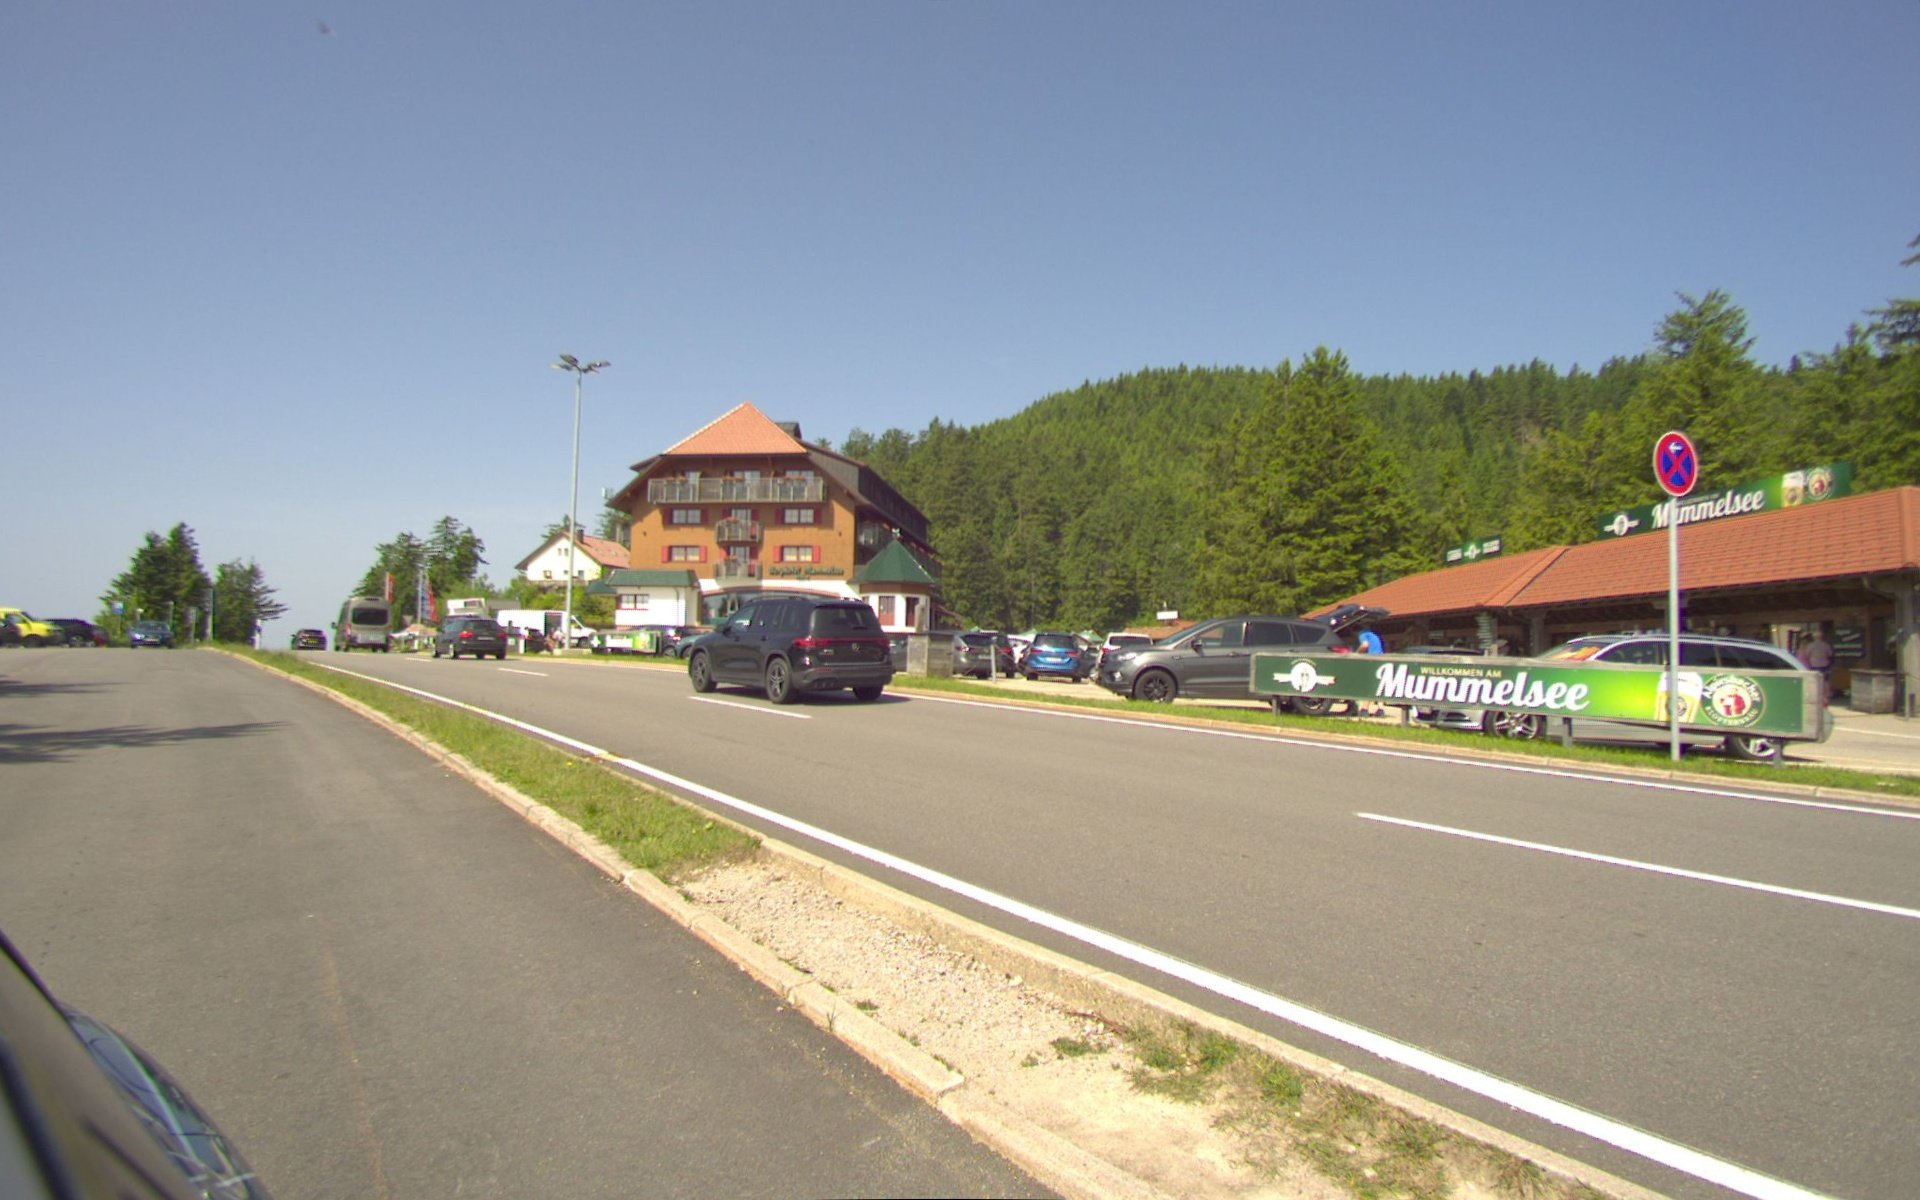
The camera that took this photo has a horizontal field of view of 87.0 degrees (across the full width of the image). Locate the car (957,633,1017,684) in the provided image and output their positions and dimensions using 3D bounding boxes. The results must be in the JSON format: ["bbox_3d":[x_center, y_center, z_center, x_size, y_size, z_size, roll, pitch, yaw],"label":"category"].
[{"bbox_3d":[1.028,2.051,35.982,1.802,1.641,4.087,1,-2,6],"label":"car"}]

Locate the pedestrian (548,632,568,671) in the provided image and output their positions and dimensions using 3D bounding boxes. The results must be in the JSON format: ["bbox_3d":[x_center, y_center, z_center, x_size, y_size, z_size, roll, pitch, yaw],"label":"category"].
[{"bbox_3d":[-21.108,2.690,53.175,0.706,2.029,0.804,2,-2,-40],"label":"pedestrian"}]

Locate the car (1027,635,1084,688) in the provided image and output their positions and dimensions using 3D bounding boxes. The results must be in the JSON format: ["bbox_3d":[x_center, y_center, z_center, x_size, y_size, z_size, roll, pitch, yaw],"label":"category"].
[{"bbox_3d":[3.271,2.050,34.465,1.802,1.641,4.087,1,-2,6],"label":"car"}]

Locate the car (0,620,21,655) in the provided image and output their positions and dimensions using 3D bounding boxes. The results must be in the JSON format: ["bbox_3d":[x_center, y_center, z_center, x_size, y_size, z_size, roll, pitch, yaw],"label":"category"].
[{"bbox_3d":[-46.987,1.720,47.630,3.849,1.627,1.880,3,-3,-37],"label":"car"}]

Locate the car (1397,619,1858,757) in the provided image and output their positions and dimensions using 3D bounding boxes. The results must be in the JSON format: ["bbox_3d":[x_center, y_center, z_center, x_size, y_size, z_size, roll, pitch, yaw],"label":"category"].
[{"bbox_3d":[8.031,1.037,12.537,4.446,1.441,1.719,1,-2,5],"label":"car"}]

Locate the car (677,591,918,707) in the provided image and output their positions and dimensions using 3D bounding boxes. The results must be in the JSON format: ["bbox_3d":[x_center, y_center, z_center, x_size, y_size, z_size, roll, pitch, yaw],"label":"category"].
[{"bbox_3d":[-2.855,0.775,16.921,1.968,1.660,4.576,3,-3,-38],"label":"car"}]

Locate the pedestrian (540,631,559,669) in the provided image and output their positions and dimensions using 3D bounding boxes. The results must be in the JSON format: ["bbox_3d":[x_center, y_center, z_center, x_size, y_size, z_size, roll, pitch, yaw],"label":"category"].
[{"bbox_3d":[-22.192,2.690,54.754,0.706,2.029,0.804,2,-2,-40],"label":"pedestrian"}]

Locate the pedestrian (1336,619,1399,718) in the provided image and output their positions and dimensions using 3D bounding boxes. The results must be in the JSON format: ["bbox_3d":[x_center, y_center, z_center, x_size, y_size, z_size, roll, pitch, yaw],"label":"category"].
[{"bbox_3d":[7.043,1.169,17.527,0.736,1.648,0.847,1,-2,1],"label":"pedestrian"}]

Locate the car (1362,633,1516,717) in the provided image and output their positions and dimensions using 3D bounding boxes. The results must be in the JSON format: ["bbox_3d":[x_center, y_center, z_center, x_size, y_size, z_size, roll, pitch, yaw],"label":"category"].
[{"bbox_3d":[11.079,1.687,23.728,1.896,1.729,4.089,1,-2,4],"label":"car"}]

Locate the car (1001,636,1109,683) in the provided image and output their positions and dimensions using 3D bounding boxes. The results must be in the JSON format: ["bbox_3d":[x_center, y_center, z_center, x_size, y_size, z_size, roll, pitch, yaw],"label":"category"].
[{"bbox_3d":[3.643,2.274,39.166,4.042,1.641,1.822,1,-2,4],"label":"car"}]

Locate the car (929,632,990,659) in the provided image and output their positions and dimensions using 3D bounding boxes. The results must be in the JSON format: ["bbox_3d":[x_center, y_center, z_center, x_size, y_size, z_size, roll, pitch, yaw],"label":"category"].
[{"bbox_3d":[-0.016,3.110,69.917,4.043,1.729,1.917,1,-2,5],"label":"car"}]

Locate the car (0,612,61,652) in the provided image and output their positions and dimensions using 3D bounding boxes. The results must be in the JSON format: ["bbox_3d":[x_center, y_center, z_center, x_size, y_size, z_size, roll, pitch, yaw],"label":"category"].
[{"bbox_3d":[-47.872,1.559,50.422,4.387,1.940,1.880,3,-3,-37],"label":"car"}]

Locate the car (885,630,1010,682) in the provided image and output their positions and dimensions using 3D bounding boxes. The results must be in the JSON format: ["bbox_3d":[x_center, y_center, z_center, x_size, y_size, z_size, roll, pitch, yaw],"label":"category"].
[{"bbox_3d":[-0.442,1.689,30.978,1.694,1.441,4.008,3,-3,-39],"label":"car"}]

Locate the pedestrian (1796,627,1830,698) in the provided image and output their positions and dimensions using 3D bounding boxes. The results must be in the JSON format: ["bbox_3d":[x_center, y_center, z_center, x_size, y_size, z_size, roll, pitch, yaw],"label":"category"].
[{"bbox_3d":[21.658,1.574,25.686,0.662,1.750,0.556,3,-3,-41],"label":"pedestrian"}]

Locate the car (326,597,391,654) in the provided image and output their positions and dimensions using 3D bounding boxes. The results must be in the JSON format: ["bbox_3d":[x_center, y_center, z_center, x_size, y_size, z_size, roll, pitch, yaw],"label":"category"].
[{"bbox_3d":[-31.176,1.300,52.337,1.985,2.772,5.928,3,-3,-39],"label":"car"}]

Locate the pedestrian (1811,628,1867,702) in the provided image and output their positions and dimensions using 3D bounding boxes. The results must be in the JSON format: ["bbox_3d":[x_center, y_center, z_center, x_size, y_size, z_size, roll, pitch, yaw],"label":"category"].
[{"bbox_3d":[21.522,1.577,24.797,0.742,1.750,0.800,0,-2,14],"label":"pedestrian"}]

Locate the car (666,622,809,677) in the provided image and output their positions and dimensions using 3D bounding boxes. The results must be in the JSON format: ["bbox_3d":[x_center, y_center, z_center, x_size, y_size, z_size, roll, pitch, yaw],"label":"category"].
[{"bbox_3d":[-7.229,1.608,33.183,4.216,1.641,1.822,1,-2,4],"label":"car"}]

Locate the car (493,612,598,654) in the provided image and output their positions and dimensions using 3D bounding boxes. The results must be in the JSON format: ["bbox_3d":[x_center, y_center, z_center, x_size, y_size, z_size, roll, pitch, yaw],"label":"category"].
[{"bbox_3d":[-29.932,2.410,73.357,6.845,2.812,2.675,2,-2,-20],"label":"car"}]

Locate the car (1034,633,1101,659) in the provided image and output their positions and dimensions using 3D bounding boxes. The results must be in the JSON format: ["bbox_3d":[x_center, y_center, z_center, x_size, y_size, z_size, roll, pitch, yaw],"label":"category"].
[{"bbox_3d":[7.848,3.356,74.186,4.785,1.729,1.917,1,-2,5],"label":"car"}]

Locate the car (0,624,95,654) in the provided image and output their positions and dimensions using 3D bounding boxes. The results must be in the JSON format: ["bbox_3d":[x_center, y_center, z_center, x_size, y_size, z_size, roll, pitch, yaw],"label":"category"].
[{"bbox_3d":[-52.250,2.246,58.032,3.849,1.627,1.880,3,-3,-37],"label":"car"}]

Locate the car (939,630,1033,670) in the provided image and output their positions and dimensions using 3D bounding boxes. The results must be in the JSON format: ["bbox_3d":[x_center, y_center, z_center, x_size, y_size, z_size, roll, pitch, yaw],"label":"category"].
[{"bbox_3d":[1.162,2.210,44.830,4.042,1.641,1.822,1,-2,4],"label":"car"}]

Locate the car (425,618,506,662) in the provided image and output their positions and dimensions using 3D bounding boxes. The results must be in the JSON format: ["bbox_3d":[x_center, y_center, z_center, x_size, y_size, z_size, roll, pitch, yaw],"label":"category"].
[{"bbox_3d":[-17.481,1.398,35.689,1.684,1.449,4.459,3,-2,-37],"label":"car"}]

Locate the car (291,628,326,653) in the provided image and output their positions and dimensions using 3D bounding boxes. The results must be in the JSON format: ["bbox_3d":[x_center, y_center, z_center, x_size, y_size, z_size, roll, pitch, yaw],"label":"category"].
[{"bbox_3d":[-47.236,2.902,73.363,1.694,1.695,4.138,3,-2,-39],"label":"car"}]

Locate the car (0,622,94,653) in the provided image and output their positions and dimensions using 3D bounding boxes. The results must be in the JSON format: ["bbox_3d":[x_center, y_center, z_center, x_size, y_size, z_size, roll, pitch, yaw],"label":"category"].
[{"bbox_3d":[-50.603,2.105,56.004,3.849,1.627,1.880,3,-3,-37],"label":"car"}]

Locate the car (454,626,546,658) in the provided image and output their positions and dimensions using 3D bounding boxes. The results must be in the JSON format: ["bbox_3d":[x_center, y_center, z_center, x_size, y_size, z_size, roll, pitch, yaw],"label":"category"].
[{"bbox_3d":[-24.391,2.222,53.722,4.037,1.539,1.824,2,-2,0],"label":"car"}]

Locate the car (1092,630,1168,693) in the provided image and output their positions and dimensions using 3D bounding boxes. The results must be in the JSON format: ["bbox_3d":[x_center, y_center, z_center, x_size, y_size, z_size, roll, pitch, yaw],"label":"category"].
[{"bbox_3d":[5.139,1.841,31.102,1.896,1.729,4.089,1,-2,4],"label":"car"}]

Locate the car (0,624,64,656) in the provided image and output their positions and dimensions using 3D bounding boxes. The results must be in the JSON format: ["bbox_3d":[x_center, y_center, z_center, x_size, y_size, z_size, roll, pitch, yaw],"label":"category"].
[{"bbox_3d":[-49.708,2.106,53.069,3.849,1.627,1.880,3,-3,-37],"label":"car"}]

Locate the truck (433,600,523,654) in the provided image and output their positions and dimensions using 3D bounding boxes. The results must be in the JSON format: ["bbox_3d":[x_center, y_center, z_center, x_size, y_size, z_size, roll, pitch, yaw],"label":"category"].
[{"bbox_3d":[-36.663,2.082,77.395,2.842,3.850,9.019,-1,-2,-2],"label":"truck"}]

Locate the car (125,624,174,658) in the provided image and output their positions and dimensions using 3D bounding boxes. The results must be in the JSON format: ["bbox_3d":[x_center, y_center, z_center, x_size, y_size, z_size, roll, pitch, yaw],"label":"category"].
[{"bbox_3d":[-41.727,2.094,52.113,1.846,1.627,3.920,3,-3,-39],"label":"car"}]

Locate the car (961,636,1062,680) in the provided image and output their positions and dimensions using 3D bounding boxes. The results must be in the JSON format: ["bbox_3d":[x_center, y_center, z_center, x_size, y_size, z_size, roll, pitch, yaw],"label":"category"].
[{"bbox_3d":[2.145,2.383,41.925,4.042,1.641,1.822,1,-2,4],"label":"car"}]

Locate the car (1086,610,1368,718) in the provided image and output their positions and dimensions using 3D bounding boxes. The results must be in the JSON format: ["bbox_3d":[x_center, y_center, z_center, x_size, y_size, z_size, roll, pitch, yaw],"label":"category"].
[{"bbox_3d":[4.568,1.093,17.800,4.492,1.668,1.720,2,-2,3],"label":"car"}]

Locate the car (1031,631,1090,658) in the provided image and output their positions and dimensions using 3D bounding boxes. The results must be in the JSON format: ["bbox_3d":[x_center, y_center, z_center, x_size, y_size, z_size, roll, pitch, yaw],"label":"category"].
[{"bbox_3d":[6.944,3.080,70.193,4.043,1.729,1.917,1,-2,5],"label":"car"}]

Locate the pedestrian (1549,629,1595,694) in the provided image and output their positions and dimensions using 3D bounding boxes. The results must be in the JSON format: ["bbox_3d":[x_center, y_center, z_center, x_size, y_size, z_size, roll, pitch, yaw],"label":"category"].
[{"bbox_3d":[19.437,1.929,32.175,0.844,2.029,0.965,1,-2,-1],"label":"pedestrian"}]

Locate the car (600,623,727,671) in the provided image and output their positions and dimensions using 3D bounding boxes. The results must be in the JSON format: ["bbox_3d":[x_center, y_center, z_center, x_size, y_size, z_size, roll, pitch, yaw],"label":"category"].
[{"bbox_3d":[-11.123,1.767,38.153,4.216,1.641,1.822,1,-2,4],"label":"car"}]

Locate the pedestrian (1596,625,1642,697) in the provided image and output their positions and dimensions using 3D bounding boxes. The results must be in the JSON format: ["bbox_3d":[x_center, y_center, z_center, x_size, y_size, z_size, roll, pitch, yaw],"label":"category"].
[{"bbox_3d":[19.078,1.750,29.320,0.713,2.029,0.927,1,-2,-2],"label":"pedestrian"}]

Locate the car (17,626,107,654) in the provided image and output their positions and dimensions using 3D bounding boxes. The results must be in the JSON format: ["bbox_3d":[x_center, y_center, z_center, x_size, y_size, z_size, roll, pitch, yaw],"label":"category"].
[{"bbox_3d":[-54.456,2.437,61.464,3.849,1.627,1.880,3,-3,-37],"label":"car"}]
